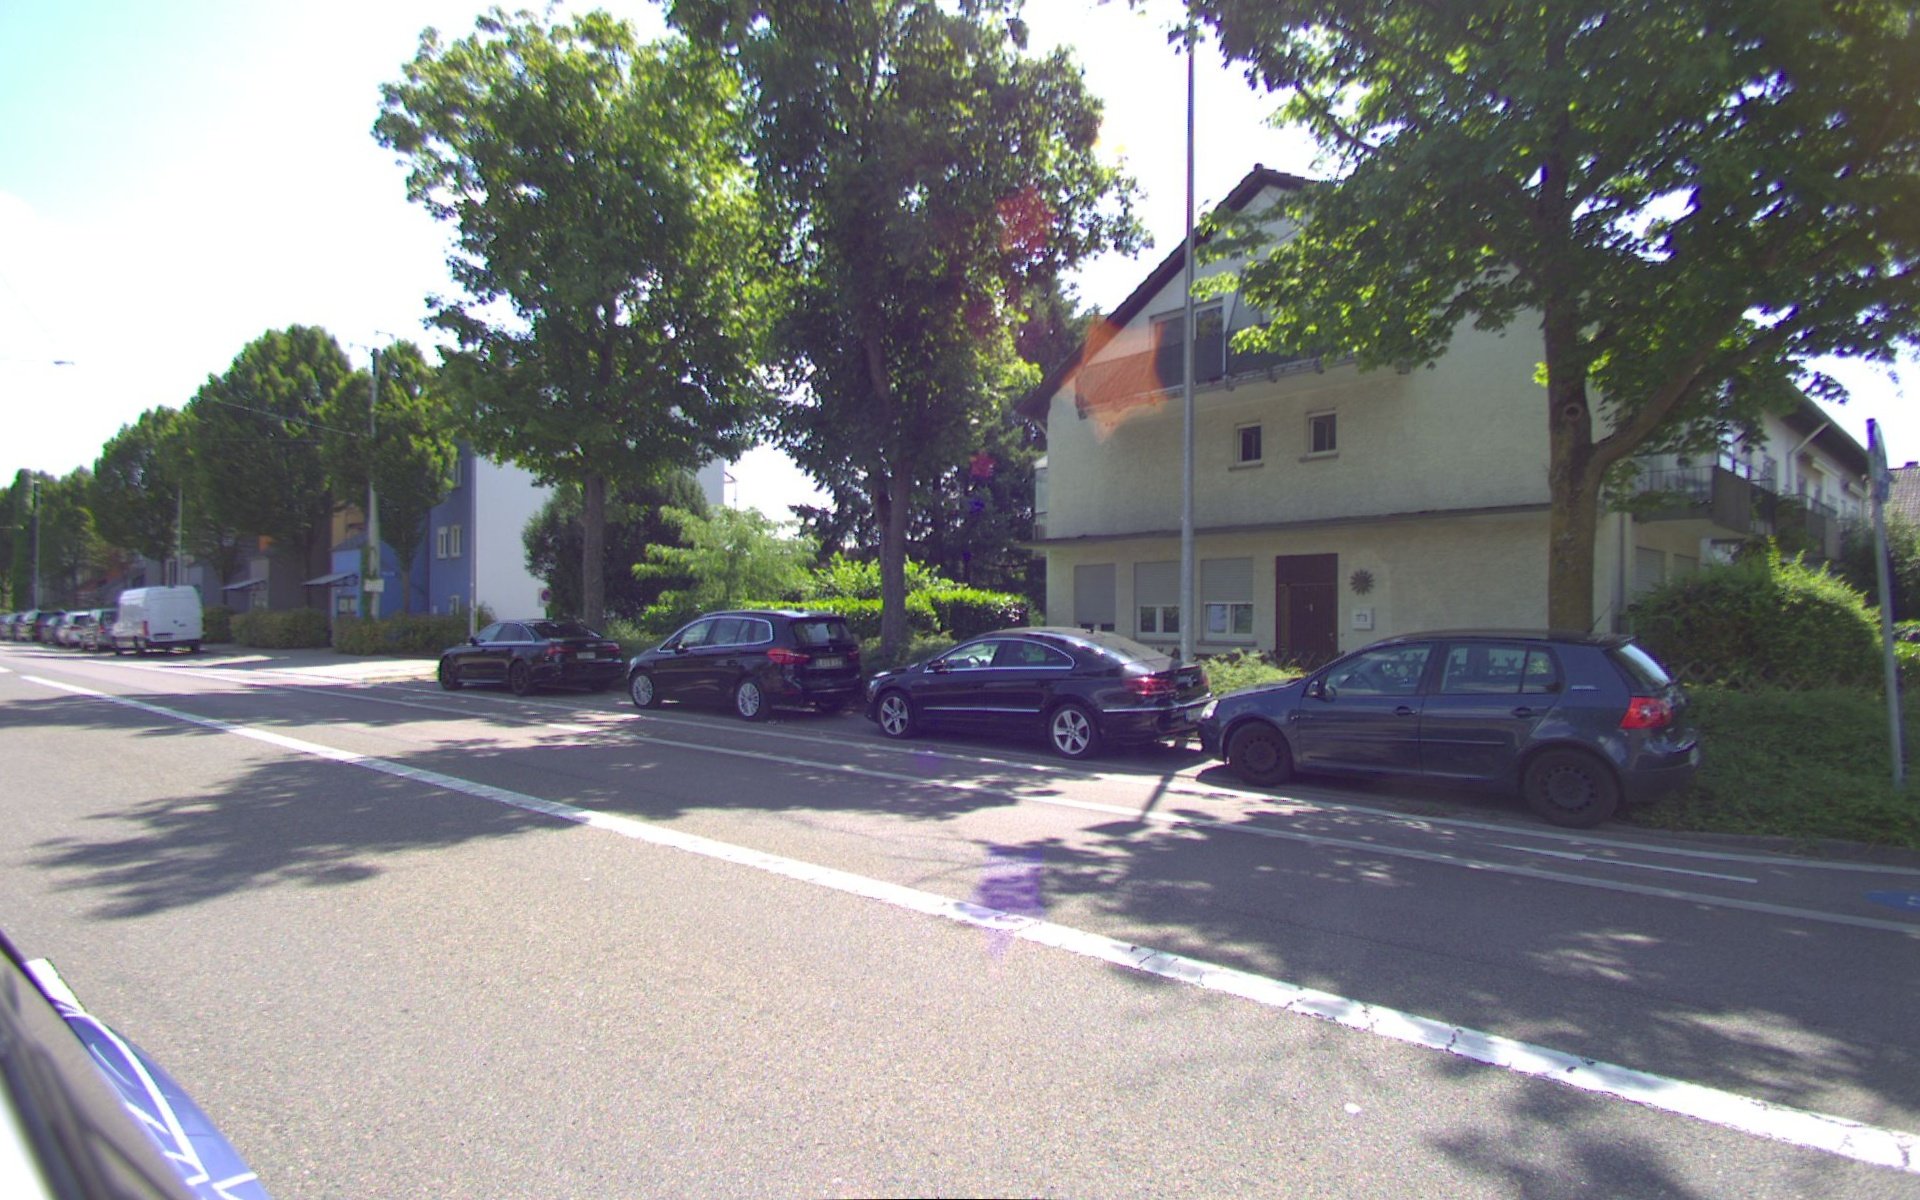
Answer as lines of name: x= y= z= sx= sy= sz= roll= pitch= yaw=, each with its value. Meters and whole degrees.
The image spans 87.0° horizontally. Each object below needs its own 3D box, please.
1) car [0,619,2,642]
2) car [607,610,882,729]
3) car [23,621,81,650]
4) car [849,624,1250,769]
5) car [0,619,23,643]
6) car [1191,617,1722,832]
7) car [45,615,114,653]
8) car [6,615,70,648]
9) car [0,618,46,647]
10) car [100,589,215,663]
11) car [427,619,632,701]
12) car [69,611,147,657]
car: x=-64.666 y=1.998 z=66.376 sx=4.883 sy=1.519 sz=1.642 roll=0 pitch=2 yaw=34
car: x=-3.521 y=0.987 z=16.041 sx=4.632 sy=1.616 sz=1.757 roll=-1 pitch=-1 yaw=39
car: x=-47.398 y=1.815 z=52.811 sx=4.082 sy=1.482 sz=1.583 roll=-1 pitch=-2 yaw=38
car: x=0.939 y=1.027 z=12.357 sx=4.691 sy=1.383 sz=1.757 roll=-1 pitch=0 yaw=39
car: x=-60.249 y=1.920 z=63.126 sx=4.954 sy=1.457 sz=1.726 roll=-1 pitch=0 yaw=36
car: x=4.355 y=0.927 z=9.219 sx=4.044 sy=1.492 sz=1.757 roll=-1 pitch=0 yaw=40
car: x=-43.048 y=1.639 z=49.439 sx=4.899 sy=1.765 sz=1.699 roll=-1 pitch=-2 yaw=39
car: x=-51.215 y=1.737 z=56.195 sx=4.880 sy=1.729 sz=1.734 roll=-1 pitch=-2 yaw=37
car: x=-55.478 y=1.879 z=59.578 sx=4.278 sy=1.630 sz=1.640 roll=0 pitch=-2 yaw=37
car: x=-32.517 y=1.008 z=40.909 sx=7.031 sy=2.671 sz=2.300 roll=-1 pitch=2 yaw=41
car: x=-8.733 y=1.117 z=20.336 sx=4.799 sy=1.467 sz=1.757 roll=-1 pitch=-2 yaw=39
car: x=-38.781 y=1.511 z=46.012 sx=5.358 sy=1.909 sz=1.788 roll=-1 pitch=1 yaw=40
